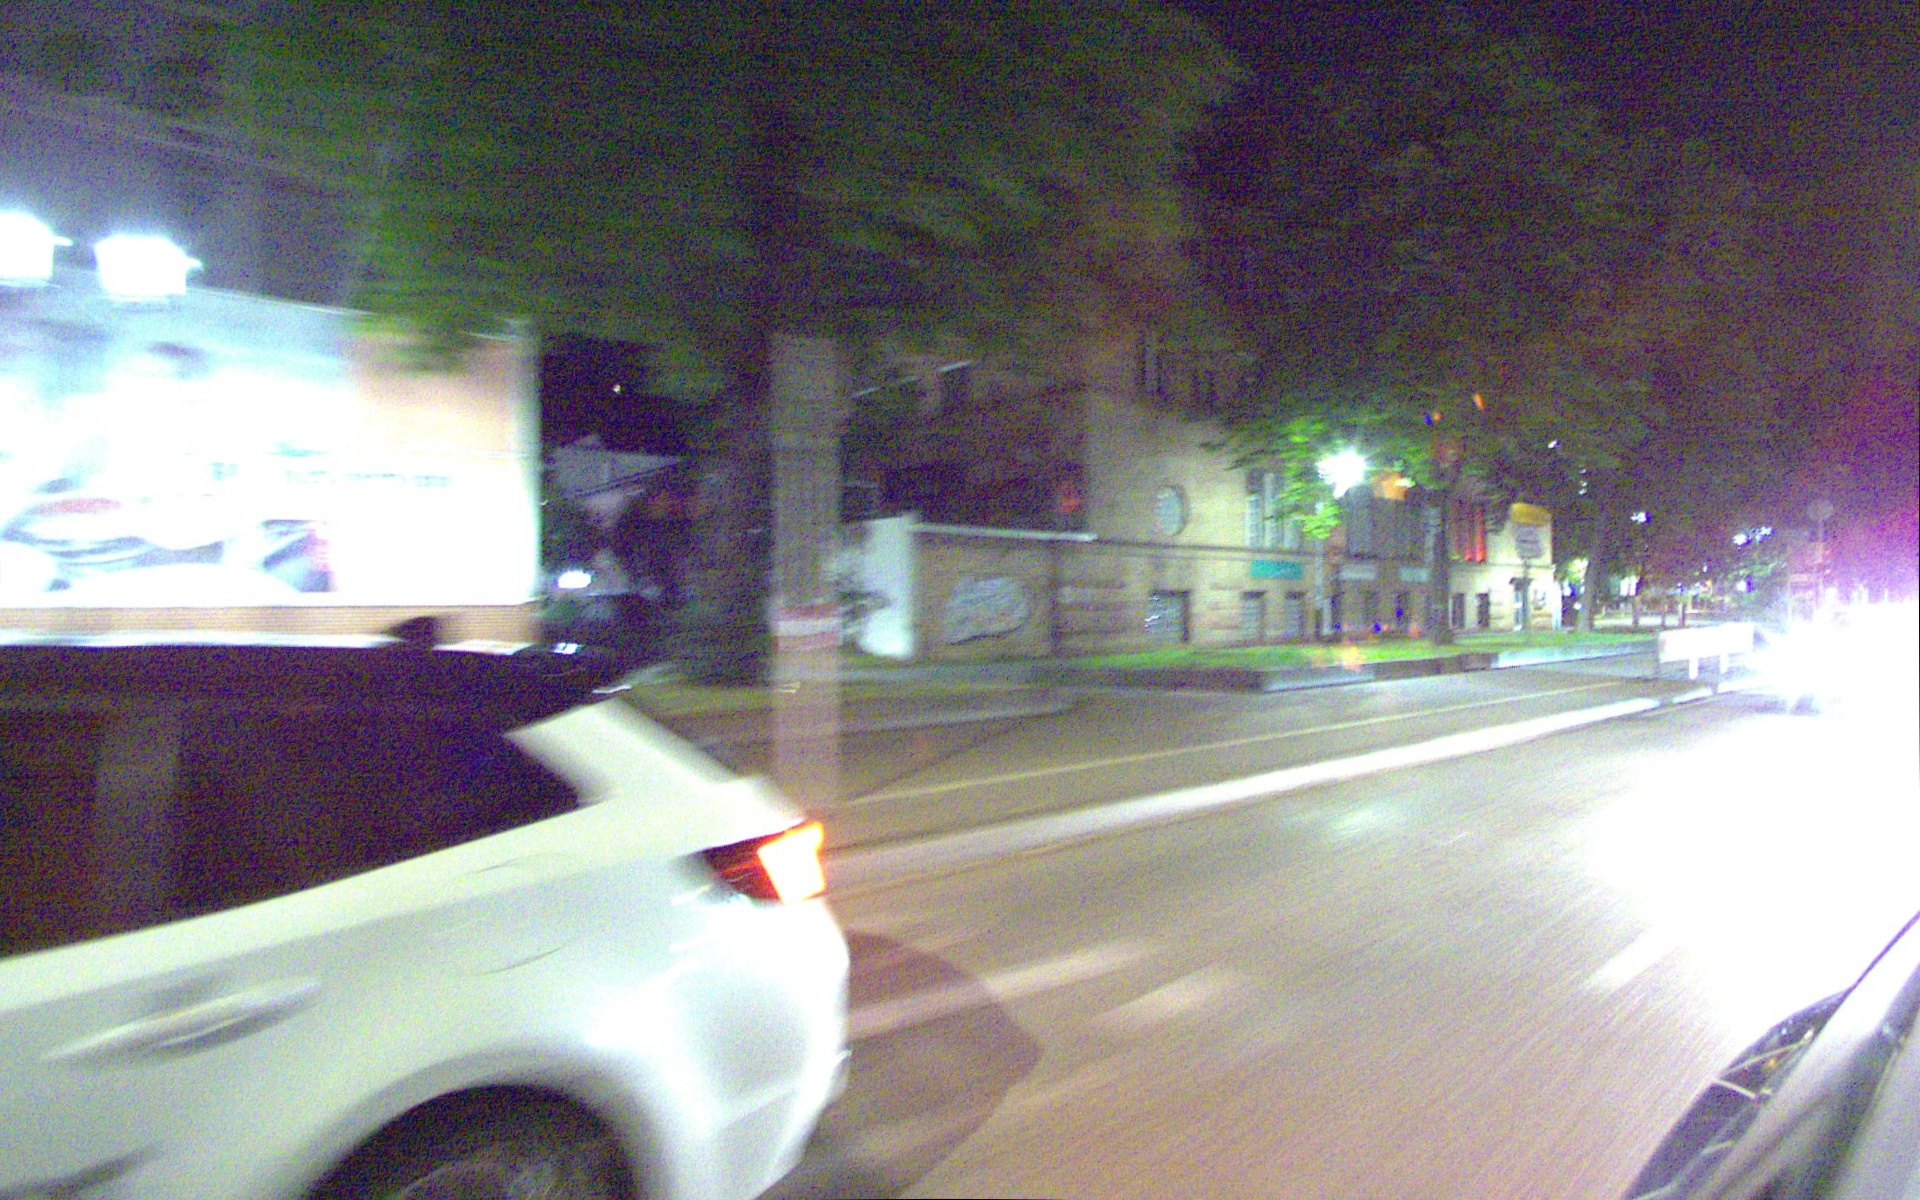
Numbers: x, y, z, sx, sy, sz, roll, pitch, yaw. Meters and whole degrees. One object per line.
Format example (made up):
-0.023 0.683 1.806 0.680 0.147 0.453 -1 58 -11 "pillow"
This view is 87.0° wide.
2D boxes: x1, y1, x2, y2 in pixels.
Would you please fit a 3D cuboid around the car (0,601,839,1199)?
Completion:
-2.493 0.741 1.384 4.418 1.448 1.727 0 -1 -40 "car"

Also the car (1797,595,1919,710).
13.243 0.656 14.265 3.773 1.456 1.632 0 -1 -41 "car"
